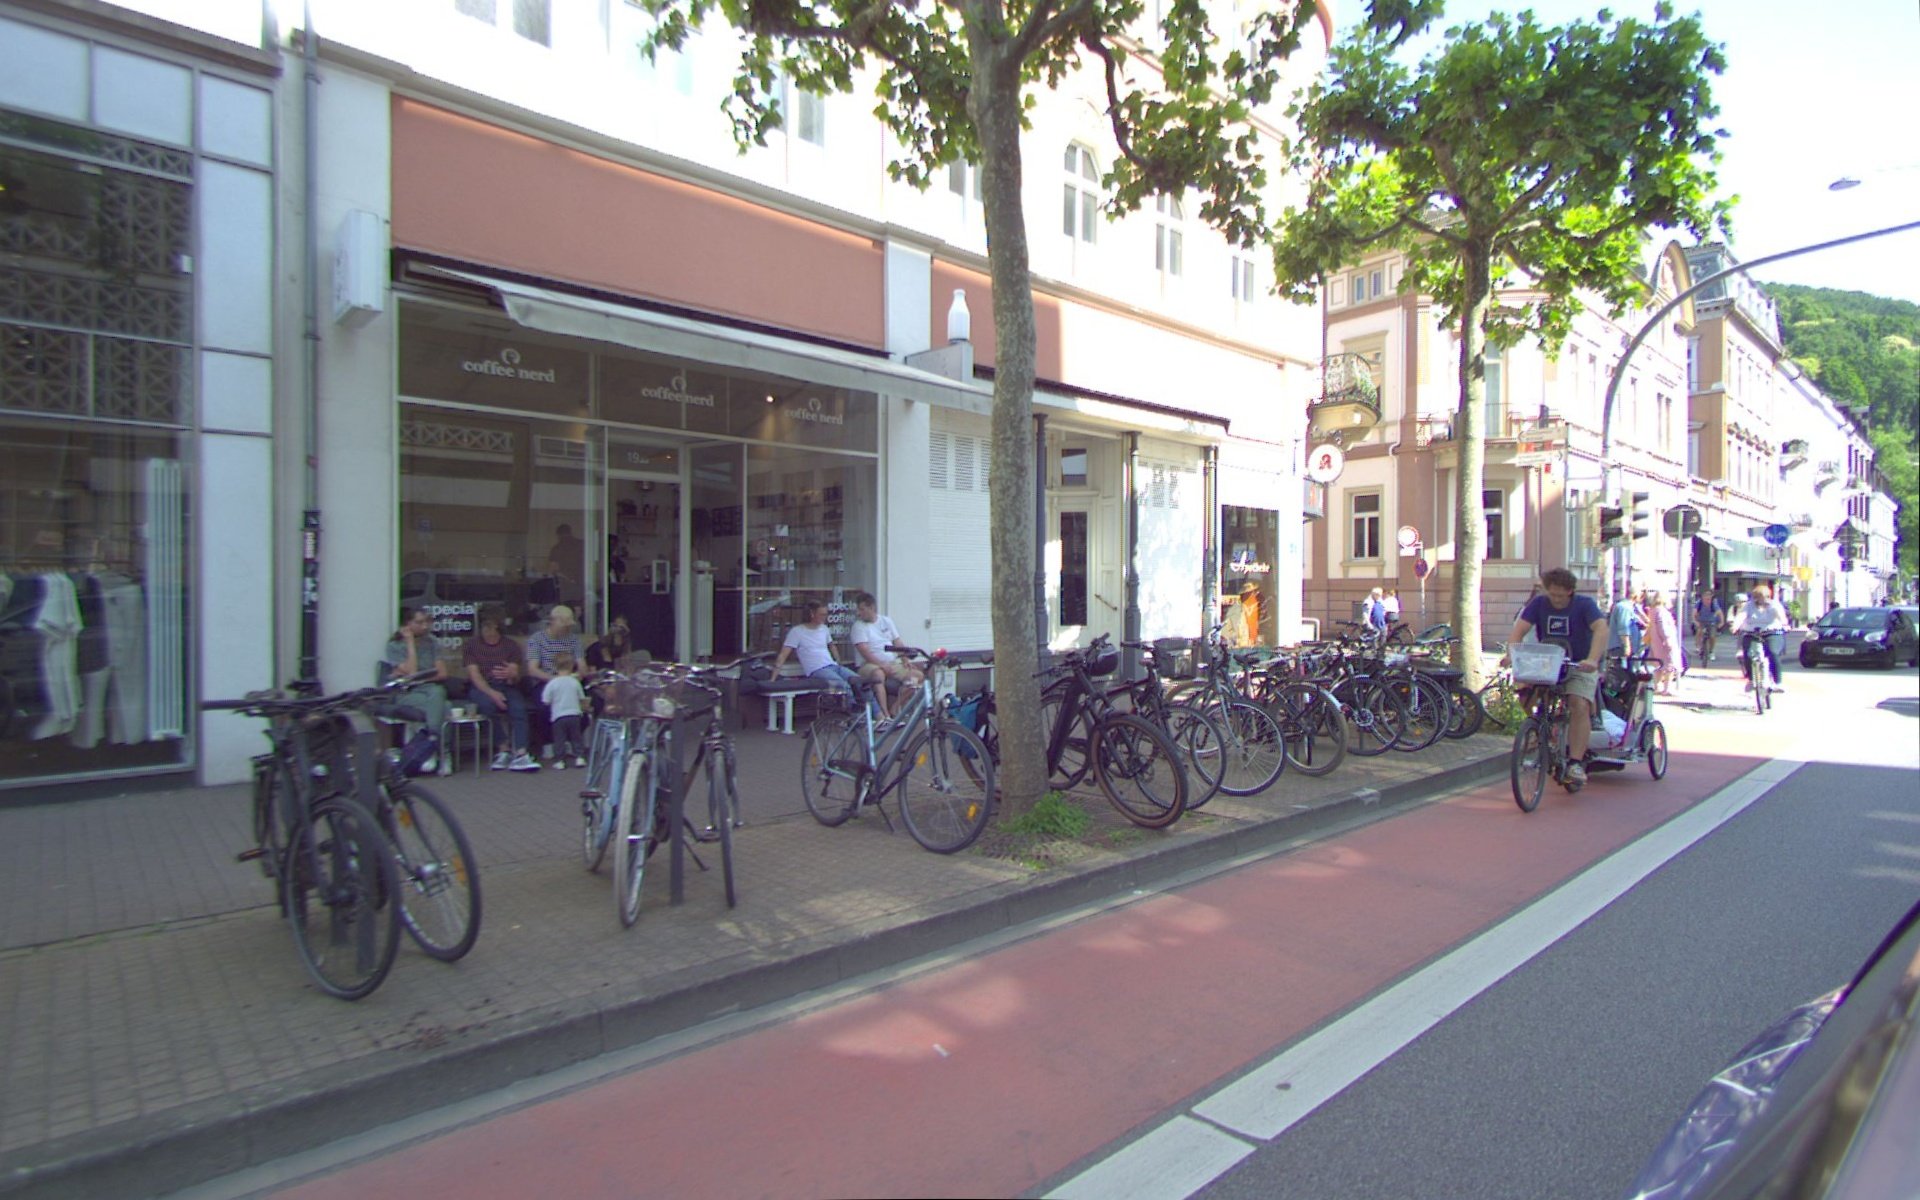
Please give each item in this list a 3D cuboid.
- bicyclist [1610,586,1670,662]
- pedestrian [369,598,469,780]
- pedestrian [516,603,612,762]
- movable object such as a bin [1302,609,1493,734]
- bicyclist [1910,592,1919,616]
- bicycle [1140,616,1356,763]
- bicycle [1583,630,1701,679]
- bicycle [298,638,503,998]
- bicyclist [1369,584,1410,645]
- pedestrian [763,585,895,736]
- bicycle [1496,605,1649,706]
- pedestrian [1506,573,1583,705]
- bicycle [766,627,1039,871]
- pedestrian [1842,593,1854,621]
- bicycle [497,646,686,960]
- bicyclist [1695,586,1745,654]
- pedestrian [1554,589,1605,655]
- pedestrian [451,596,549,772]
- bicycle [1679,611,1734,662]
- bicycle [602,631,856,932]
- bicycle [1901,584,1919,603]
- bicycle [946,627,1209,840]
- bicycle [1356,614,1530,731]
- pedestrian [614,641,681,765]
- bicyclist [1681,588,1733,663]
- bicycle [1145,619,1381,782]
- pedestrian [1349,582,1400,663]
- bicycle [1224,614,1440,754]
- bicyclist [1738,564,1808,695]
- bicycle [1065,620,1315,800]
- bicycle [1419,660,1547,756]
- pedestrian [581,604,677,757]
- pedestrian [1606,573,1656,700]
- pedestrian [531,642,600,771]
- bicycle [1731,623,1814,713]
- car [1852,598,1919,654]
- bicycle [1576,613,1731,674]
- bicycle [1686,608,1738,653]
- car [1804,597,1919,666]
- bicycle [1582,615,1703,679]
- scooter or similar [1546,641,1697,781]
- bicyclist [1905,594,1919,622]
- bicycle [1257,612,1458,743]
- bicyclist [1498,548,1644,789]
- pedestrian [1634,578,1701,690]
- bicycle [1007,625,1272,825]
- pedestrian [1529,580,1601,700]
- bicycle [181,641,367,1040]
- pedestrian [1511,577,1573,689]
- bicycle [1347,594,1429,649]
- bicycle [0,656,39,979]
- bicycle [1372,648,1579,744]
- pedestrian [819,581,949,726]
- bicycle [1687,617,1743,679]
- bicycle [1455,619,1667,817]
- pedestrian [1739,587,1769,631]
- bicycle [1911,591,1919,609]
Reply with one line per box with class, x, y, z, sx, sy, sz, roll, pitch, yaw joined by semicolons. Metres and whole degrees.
bicyclist;13.174;0.452;19.605;0.492;1.429;0.860;0;0;-41
pedestrian;-4.241;0.660;7.926;0.523;1.350;0.681;0;-1;-45
pedestrian;-3.385;0.672;8.652;0.523;1.269;0.681;1;1;-45
movable object such as a bin;4.587;0.716;10.767;0.639;1.204;1.859;0;-2;-27
bicyclist;64.013;0.283;67.560;0.830;1.593;0.747;0;1;-42
bicycle;2.561;0.742;9.186;0.655;1.141;1.843;-1;1;-40
bicycle;13.173;1.033;19.586;0.492;0.855;1.824;0;-1;-41
bicycle;-2.452;0.782;4.330;0.440;1.141;1.844;-1;1;-39
bicyclist;11.661;0.377;27.471;0.830;1.593;0.747;0;1;-42
pedestrian;-1.368;0.572;10.493;0.777;1.440;1.234;-1;2;-44
bicycle;7.806;0.713;13.023;0.702;1.204;1.857;1;-3;-4
pedestrian;8.363;0.544;14.477;0.631;1.818;0.787;1;-2;-45
bicycle;-0.412;0.783;6.069;0.668;1.141;1.844;-1;2;-40
pedestrian;54.030;0.448;61.564;0.853;1.689;0.482;0;0;-43
bicycle;-1.809;0.815;4.791;0.519;1.141;1.847;-1;-1;-30
bicyclist;19.990;0.504;26.620;0.830;1.738;0.909;0;1;-42
pedestrian;16.056;0.549;26.253;0.891;1.631;0.971;1;3;19
pedestrian;-3.758;0.649;8.266;0.523;1.355;0.681;0;0;-45
bicycle;17.825;0.853;24.152;1.957;1.132;0.663;-1;1;-41
bicycle;-1.286;0.786;5.258;0.746;1.141;1.995;-1;1;-29
bicycle;58.953;-0.404;62.645;2.529;1.141;0.743;-1;2;-41
bicycle;0.697;0.777;6.608;0.521;1.141;1.843;-1;1;-40
bicycle;5.106;0.738;10.836;0.338;1.141;1.848;1;-2;-27
pedestrian;-2.625;0.847;8.504;0.429;0.980;0.365;0;-1;-41
bicyclist;17.794;0.587;24.106;0.830;1.738;0.839;0;1;-42
bicycle;2.458;0.760;8.404;0.632;1.141;1.843;-1;1;-40
pedestrian;8.773;0.468;21.403;0.774;1.679;0.642;2;-2;-31
bicycle;3.475;0.735;9.592;0.655;1.141;1.843;-1;1;-40
bicyclist;11.308;0.395;14.075;0.682;1.739;0.831;-1;-1;43
bicycle;1.691;0.758;7.718;0.655;1.141;1.843;-1;1;-40
bicycle;6.149;1.236;12.030;1.128;0.438;1.847;11;13;21
pedestrian;-2.964;0.689;9.062;0.599;1.268;0.639;-1;3;-45
pedestrian;9.825;0.525;14.817;0.598;1.818;0.452;1;-2;-45
pedestrian;-3.172;0.836;8.134;0.429;0.980;0.341;0;-1;-41
bicycle;11.328;0.902;14.091;0.735;1.141;2.001;-1;-2;43
car;26.034;0.672;27.755;4.805;1.443;1.953;0;-2;-44
bicycle;14.232;0.862;20.829;2.565;1.141;0.618;1;-1;44
bicycle;19.933;0.798;26.810;1.885;1.132;0.747;0;-1;-42
car;21.669;0.690;23.939;3.659;1.497;1.634;-1;0;-34
bicycle;13.219;0.879;19.654;0.654;1.141;1.844;-1;1;-38
scooter or similar;5.721;0.913;8.745;1.106;1.074;0.785;0;-1;-40
bicyclist;59.635;0.499;63.269;1.018;1.724;0.747;0;1;-42
bicycle;3.971;0.725;10.253;0.654;1.141;1.846;-1;1;-35
bicyclist;4.622;0.472;7.656;0.761;1.694;0.732;0;1;-41
pedestrian;11.462;0.547;16.394;0.777;1.731;0.639;-2;-3;-45
bicycle;1.190;0.784;7.080;0.655;1.141;1.843;-1;1;-40
pedestrian;8.943;0.568;14.964;0.631;1.712;0.788;1;-1;-45
bicycle;-2.770;0.785;4.008;0.440;1.141;1.844;-1;1;-39
pedestrian;9.928;0.552;17.264;0.602;1.866;0.641;-1;-1;-30
bicycle;11.670;0.558;27.512;3.187;1.140;0.749;-7;6;-41
bicycle;-3.483;0.804;2.885;0.439;1.141;1.850;-1;1;-14
bicycle;5.727;1.100;11.319;1.853;0.395;1.019;-12;27;52
pedestrian;-0.852;0.545;11.187;0.823;1.502;1.252;0;0;-45
bicycle;16.571;1.028;22.208;1.828;1.140;0.607;-4;4;-41
bicycle;4.578;0.796;7.630;2.242;1.285;0.733;1;-2;-42
pedestrian;33.051;0.366;42.144;0.754;1.813;0.839;0;1;-42
bicycle;64.328;-0.001;67.867;2.058;1.140;0.595;-3;4;-41
